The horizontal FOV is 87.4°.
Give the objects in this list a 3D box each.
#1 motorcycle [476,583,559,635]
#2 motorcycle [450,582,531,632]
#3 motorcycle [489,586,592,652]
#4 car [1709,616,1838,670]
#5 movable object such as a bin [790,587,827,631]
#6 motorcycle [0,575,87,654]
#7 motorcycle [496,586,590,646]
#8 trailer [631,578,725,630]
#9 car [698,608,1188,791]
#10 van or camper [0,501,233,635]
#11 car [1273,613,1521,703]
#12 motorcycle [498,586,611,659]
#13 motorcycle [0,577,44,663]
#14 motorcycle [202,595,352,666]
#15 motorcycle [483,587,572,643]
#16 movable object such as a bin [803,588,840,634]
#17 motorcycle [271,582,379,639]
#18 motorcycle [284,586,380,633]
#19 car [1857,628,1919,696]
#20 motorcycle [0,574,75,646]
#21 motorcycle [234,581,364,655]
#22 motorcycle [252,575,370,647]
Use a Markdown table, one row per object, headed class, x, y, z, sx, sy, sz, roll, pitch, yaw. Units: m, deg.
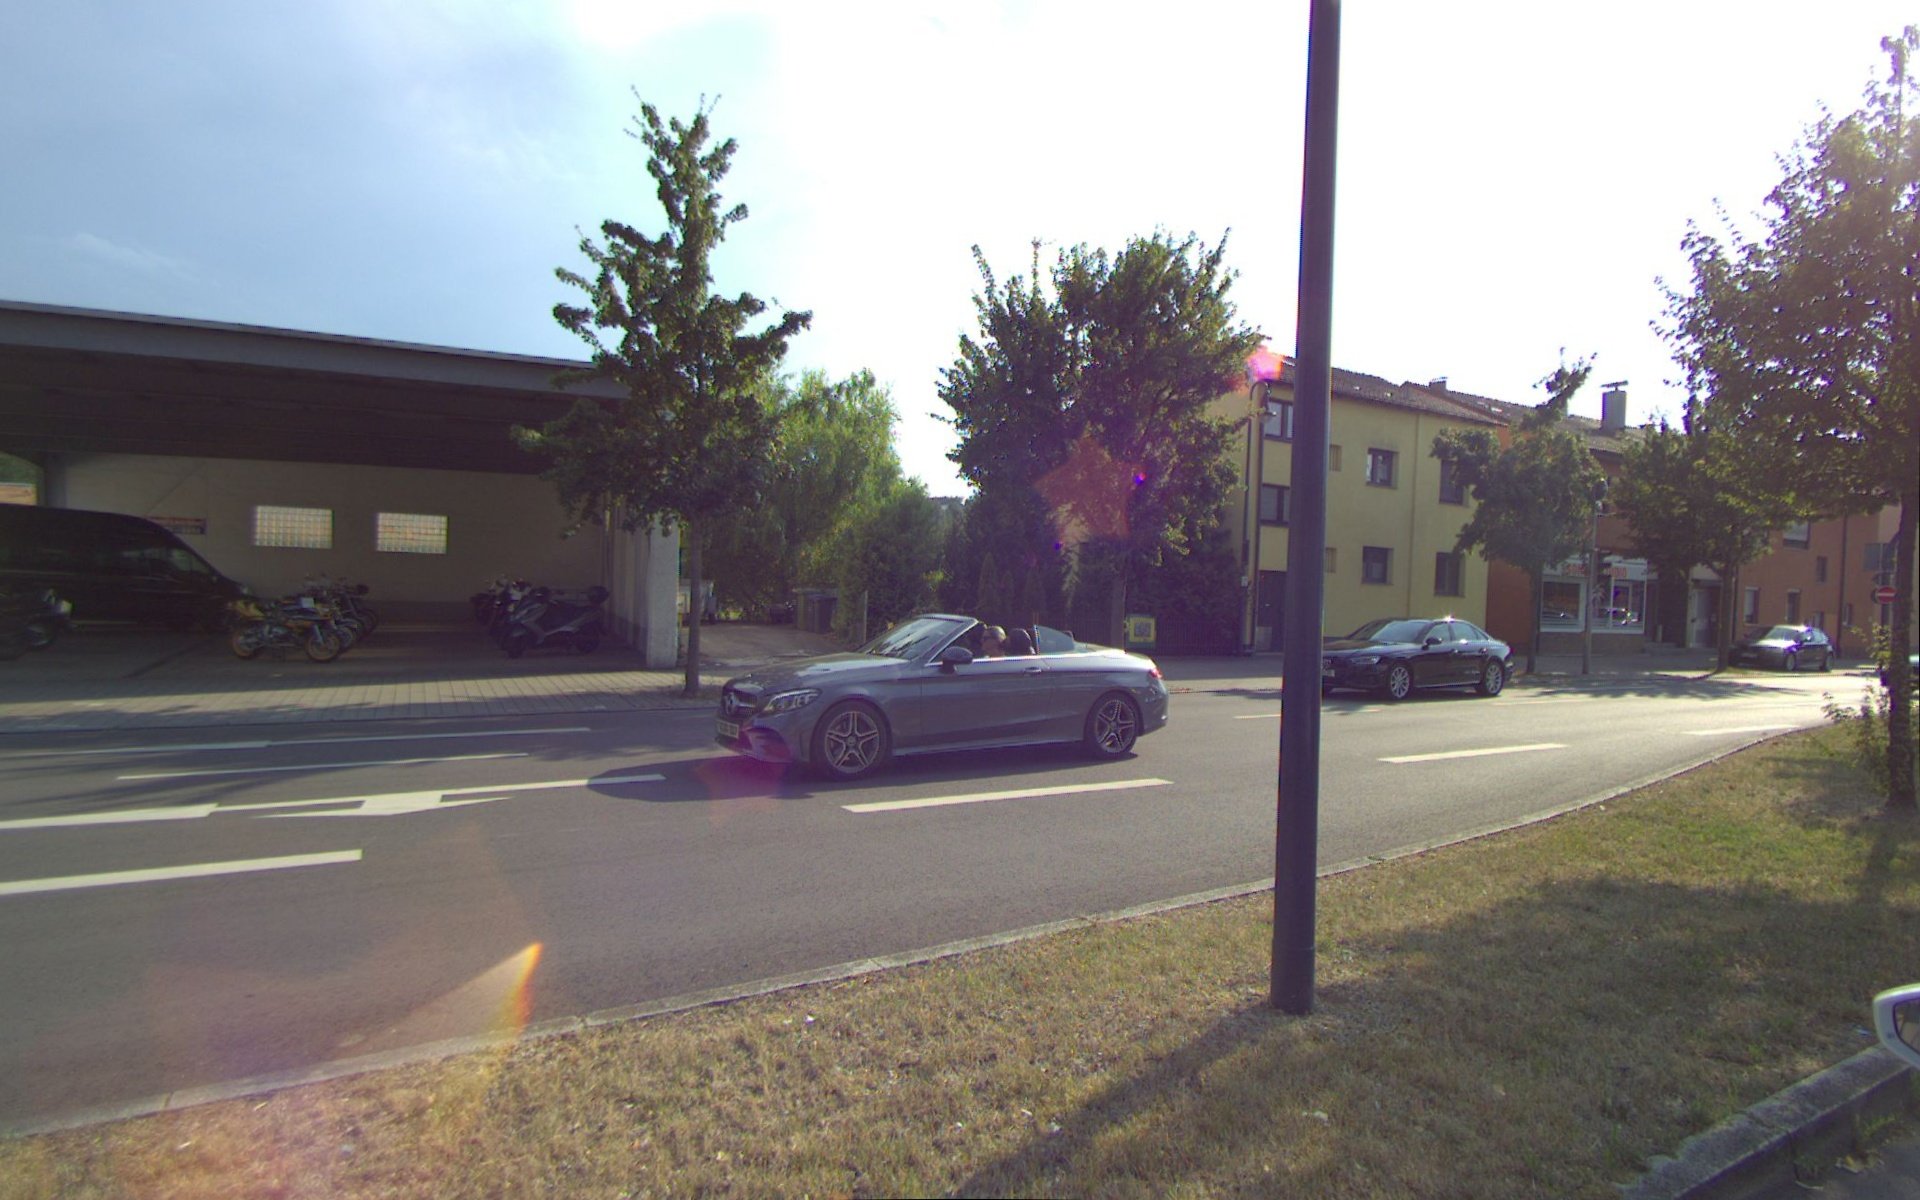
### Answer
| class | x | y | z | sx | sy | sz | roll | pitch | yaw |
| --- | --- | --- | --- | --- | --- | --- | --- | --- | --- |
| motorcycle | -11.759 | 0.248 | 26.790 | 0.553 | 1.325 | 2.086 | 1 | 0 | 30 |
| motorcycle | -12.981 | 0.202 | 27.858 | 0.553 | 1.325 | 2.086 | 1 | 0 | 30 |
| motorcycle | -8.857 | 0.401 | 21.309 | 0.553 | 1.325 | 2.086 | 1 | 0 | 30 |
| car | 26.884 | 1.399 | 33.181 | 3.949 | 1.573 | 1.836 | 1 | 2 | -28 |
| movable object such as a bin | -3.937 | 0.234 | 26.100 | 0.712 | 1.101 | 0.727 | 1 | 3 | -30 |
| motorcycle | -16.389 | 0.242 | 17.269 | 0.637 | 1.329 | 2.007 | 1 | 0 | 23 |
| motorcycle | -9.729 | 0.364 | 23.515 | 0.612 | 1.325 | 2.086 | 1 | 0 | 30 |
| trailer | -7.248 | 0.069 | 26.088 | 1.692 | 1.199 | 3.594 | 1 | 1 | -5 |
| car | -0.058 | 0.812 | 9.634 | 4.429 | 1.367 | 1.770 | 1 | 0 | -32 |
| van or camper | -19.610 | -0.649 | 22.495 | 1.963 | 2.716 | 5.033 | 1 | 0 | 26 |
| car | 8.080 | 1.015 | 18.460 | 4.590 | 1.441 | 1.834 | 1 | 0 | -30 |
| motorcycle | -7.792 | 0.427 | 19.401 | 0.553 | 1.325 | 2.112 | 1 | 0 | 30 |
| motorcycle | -15.400 | 0.298 | 15.332 | 0.659 | 1.329 | 2.000 | 2 | 0 | 37 |
| motorcycle | -11.617 | 0.511 | 17.127 | 2.111 | 1.139 | 0.631 | 1 | 0 | 0 |
| motorcycle | -10.772 | 0.364 | 25.079 | 0.573 | 1.325 | 2.086 | 1 | 0 | 30 |
| movable object such as a bin | -3.495 | 0.264 | 25.328 | 0.688 | 1.101 | 0.727 | 1 | 3 | -30 |
| motorcycle | -14.985 | 0.253 | 23.718 | 2.111 | 1.275 | 0.647 | 1 | 0 | 0 |
| motorcycle | -16.252 | 0.246 | 26.025 | 2.111 | 1.138 | 0.563 | 1 | 0 | 0 |
| car | 22.242 | 1.373 | 21.894 | 4.111 | 1.405 | 1.649 | 1 | 0 | -6 |
| motorcycle | -17.785 | 0.176 | 18.595 | 0.637 | 1.329 | 2.007 | 1 | 0 | 23 |
| motorcycle | -12.676 | 0.348 | 19.285 | 2.111 | 1.347 | 0.563 | 1 | 0 | 0 |
| motorcycle | -13.865 | 0.234 | 21.490 | 2.111 | 1.468 | 0.594 | 1 | 0 | 0 |
